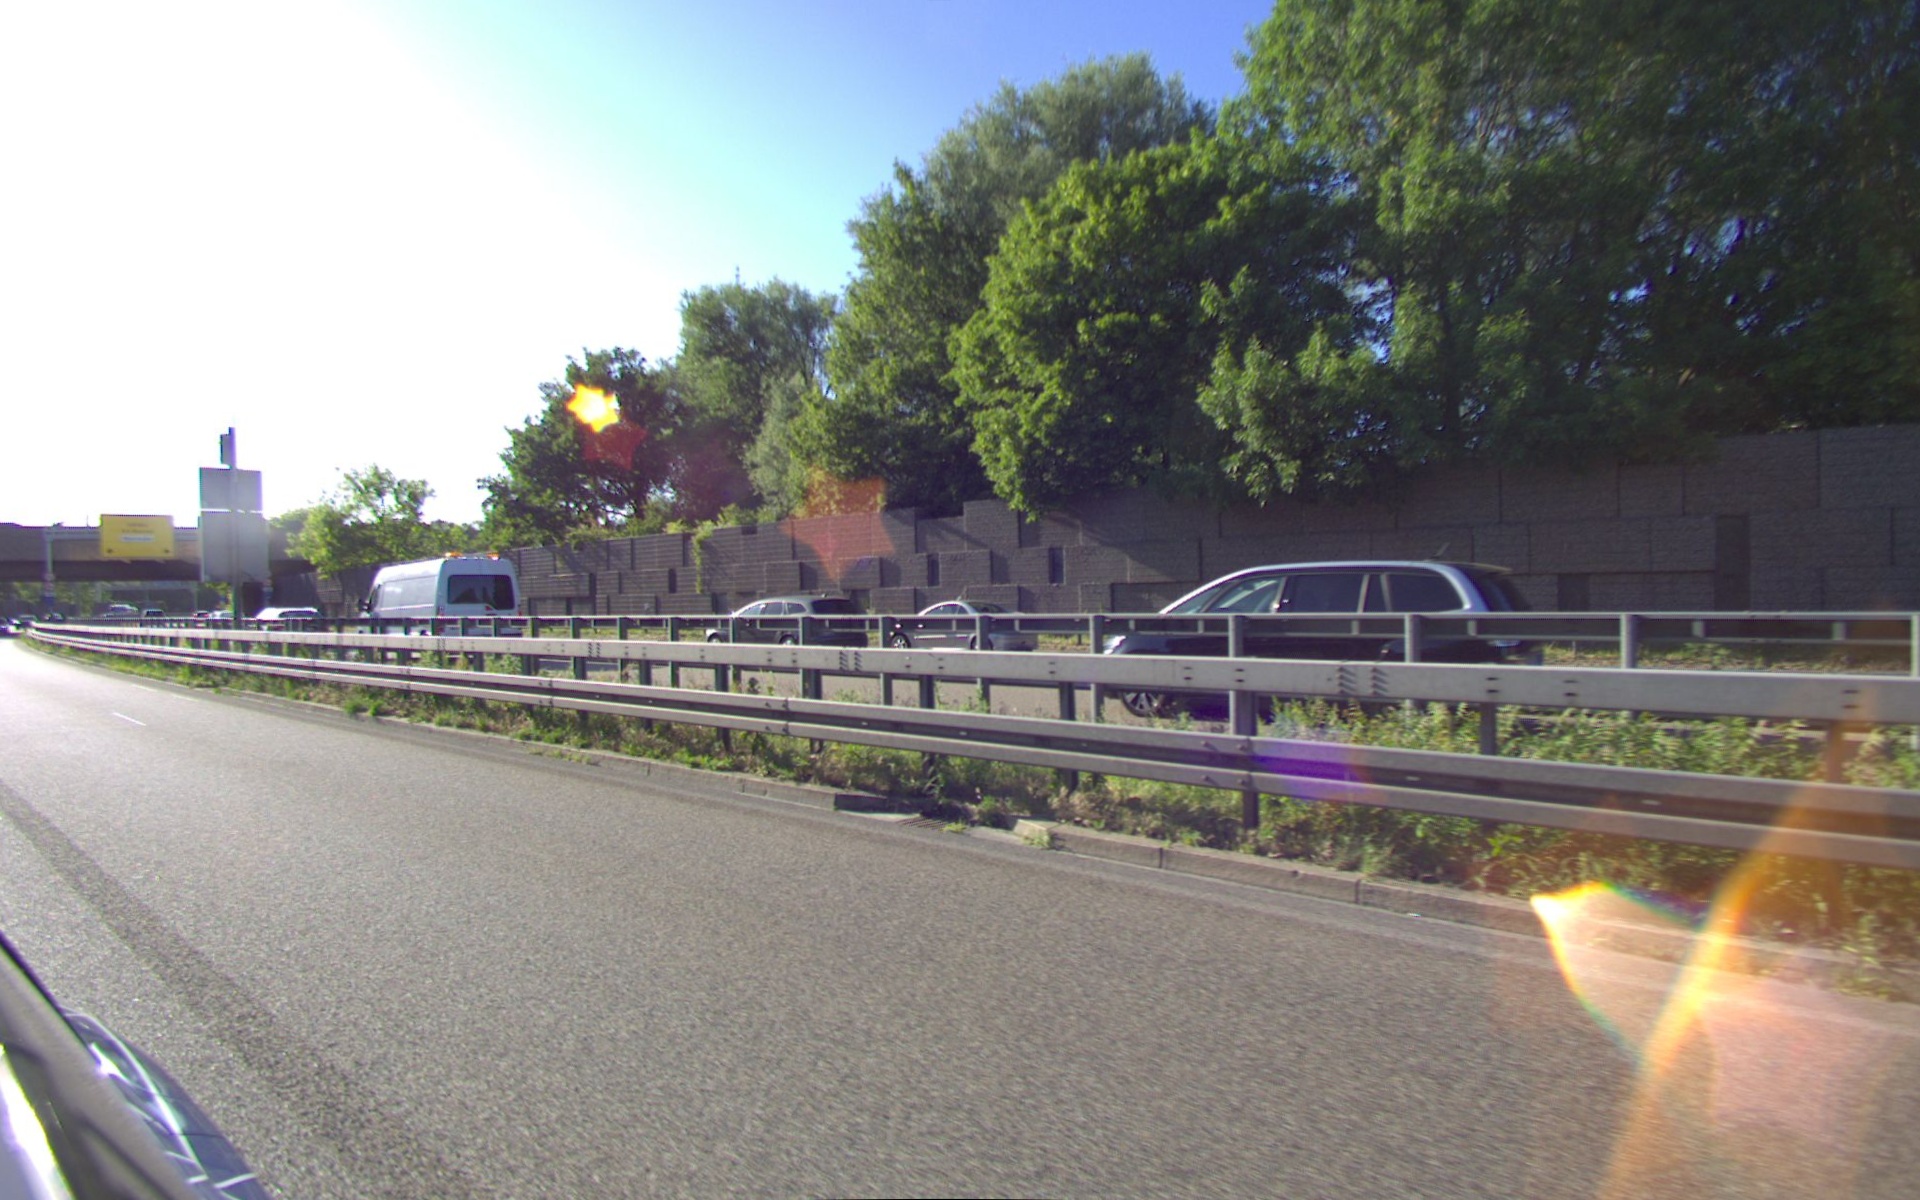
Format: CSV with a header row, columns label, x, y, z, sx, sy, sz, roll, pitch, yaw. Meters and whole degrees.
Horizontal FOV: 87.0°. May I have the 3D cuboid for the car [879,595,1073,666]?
label,x,y,z,sx,sy,sz,roll,pitch,yaw
car,0.333,0.690,23.164,4.023,1.398,1.975,-2,1,38

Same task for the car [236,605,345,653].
label,x,y,z,sx,sy,sz,roll,pitch,yaw
car,-23.415,1.027,35.308,5.089,1.444,1.972,-2,2,43

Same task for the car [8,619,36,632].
label,x,y,z,sx,sy,sz,roll,pitch,yaw
car,-105.601,2.860,113.987,1.968,1.425,4.839,-2,0,-39

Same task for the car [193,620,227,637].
label,x,y,z,sx,sy,sz,roll,pitch,yaw
car,-65.358,2.453,88.140,1.875,1.432,4.137,0,-2,-44

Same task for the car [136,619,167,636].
label,x,y,z,sx,sy,sz,roll,pitch,yaw
car,-79.728,2.714,99.792,1.876,1.585,4.811,-4,2,-44

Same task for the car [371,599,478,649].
label,x,y,z,sx,sy,sz,roll,pitch,yaw
car,-19.659,0.885,37.055,4.621,1.608,1.972,-2,1,43

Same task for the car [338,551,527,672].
label,x,y,z,sx,sy,sz,roll,pitch,yaw
car,-13.669,0.320,25.984,6.587,2.703,2.098,-2,1,43

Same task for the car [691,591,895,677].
label,x,y,z,sx,sy,sz,roll,pitch,yaw
car,-3.788,0.748,22.451,4.694,1.632,1.882,-2,1,41

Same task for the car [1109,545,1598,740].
label,x,y,z,sx,sy,sz,roll,pitch,yaw
car,3.883,0.409,10.385,4.244,1.591,1.973,-2,-1,40

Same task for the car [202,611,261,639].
label,x,y,z,sx,sy,sz,roll,pitch,yaw
car,-44.316,1.520,61.517,4.534,1.491,1.972,-2,1,43
